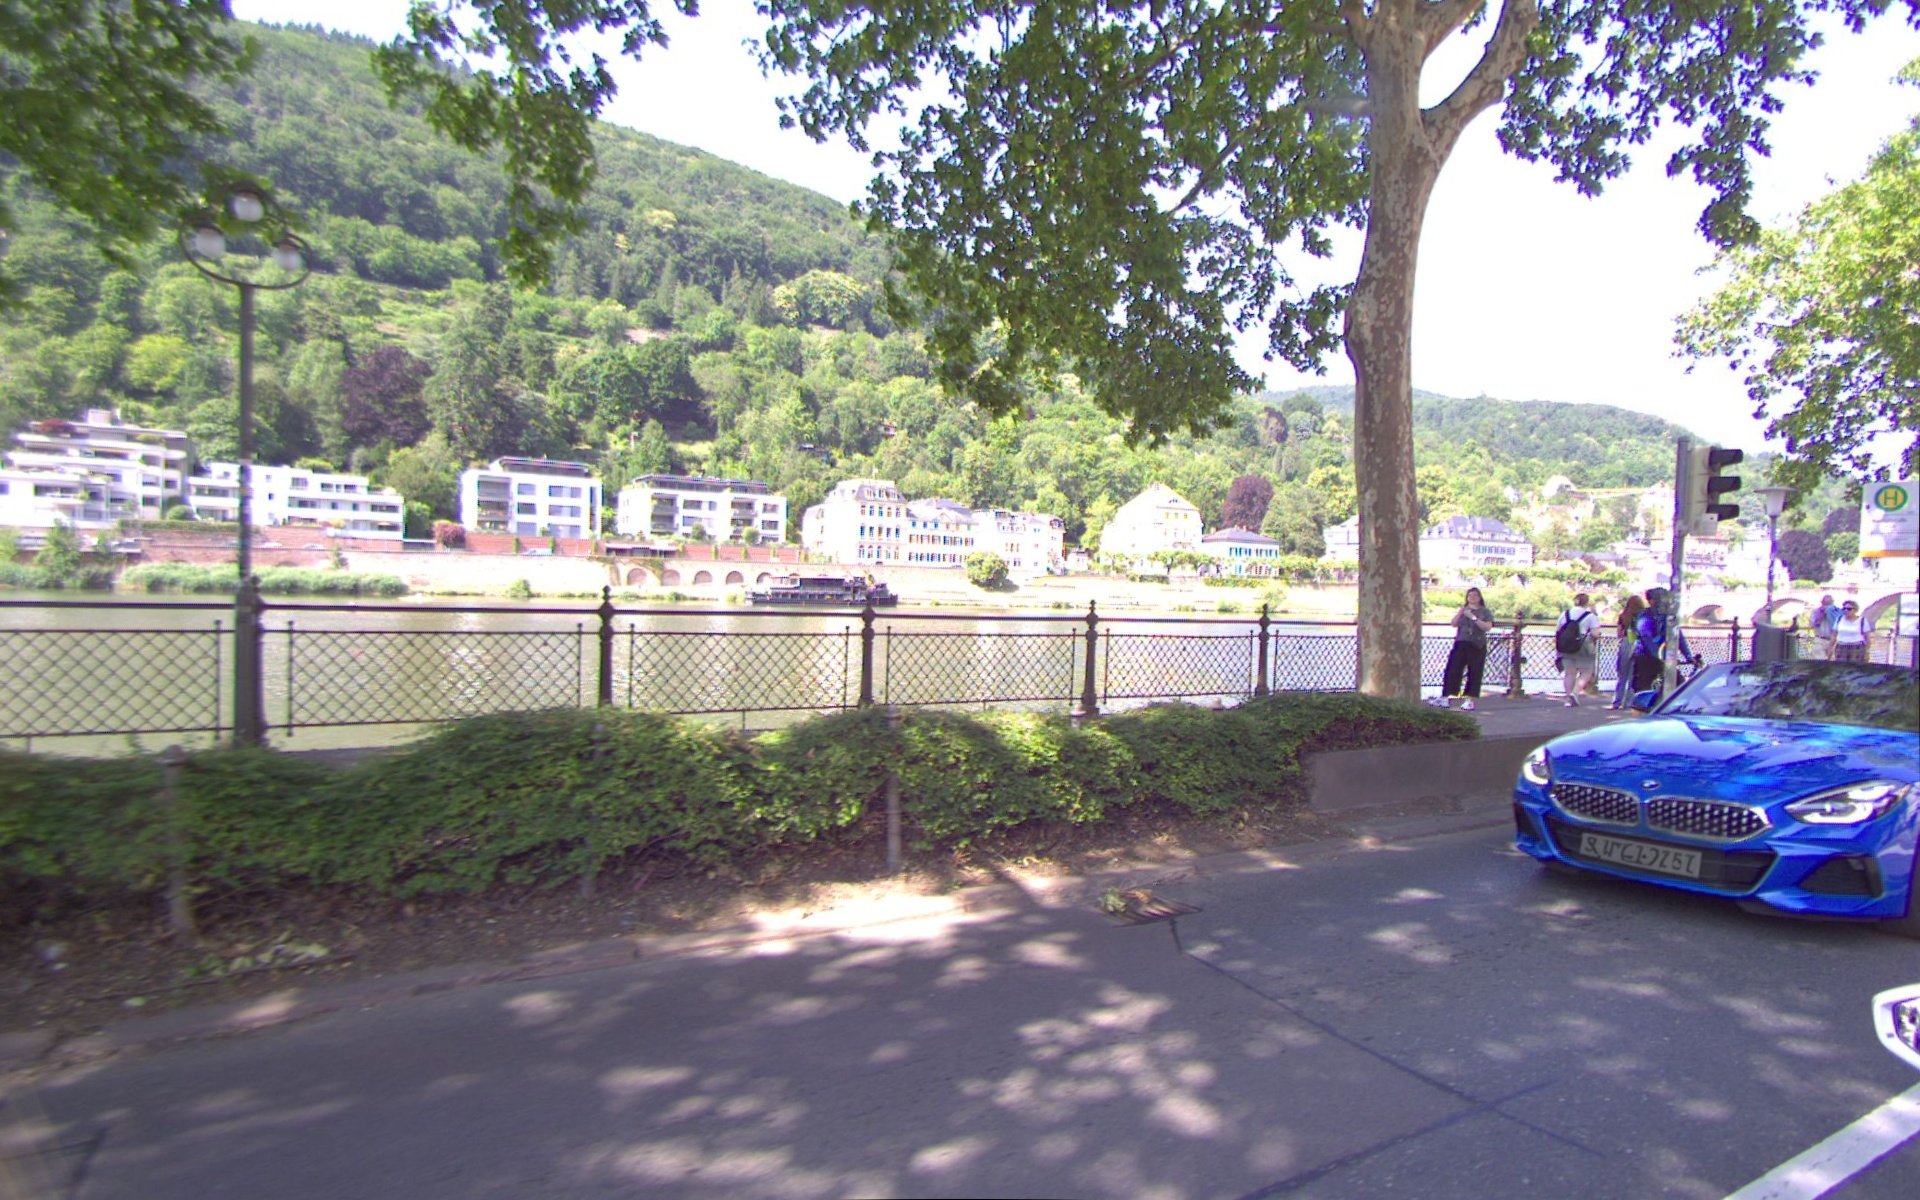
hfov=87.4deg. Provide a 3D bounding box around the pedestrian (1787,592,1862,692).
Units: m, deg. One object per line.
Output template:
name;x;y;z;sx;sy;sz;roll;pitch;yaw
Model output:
pedestrian;15.965;0.761;18.553;0.961;1.788;0.708;1;1;-31

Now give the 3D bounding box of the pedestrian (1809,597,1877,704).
pedestrian;14.145;0.797;16.091;0.980;1.639;0.491;1;1;-31

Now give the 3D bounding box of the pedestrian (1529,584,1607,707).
pedestrian;8.877;0.649;14.665;0.784;1.736;0.649;1;0;-31

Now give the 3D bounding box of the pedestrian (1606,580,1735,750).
pedestrian;7.984;0.691;11.347;0.753;1.796;1.025;2;1;10

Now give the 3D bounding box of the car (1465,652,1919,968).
car;5.189;0.982;6.135;4.214;1.286;1.831;2;-2;-31

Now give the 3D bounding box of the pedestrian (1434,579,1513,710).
pedestrian;7.055;0.594;13.814;0.688;1.723;0.615;1;2;-31

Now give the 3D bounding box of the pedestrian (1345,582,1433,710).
pedestrian;5.738;0.598;13.443;0.900;1.630;0.546;1;4;-31

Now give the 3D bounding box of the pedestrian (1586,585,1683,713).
pedestrian;9.623;0.679;14.343;0.773;1.736;0.831;1;1;-31

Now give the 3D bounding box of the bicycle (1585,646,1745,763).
bicycle;7.973;1.142;11.473;0.727;0.938;1.830;3;6;10
